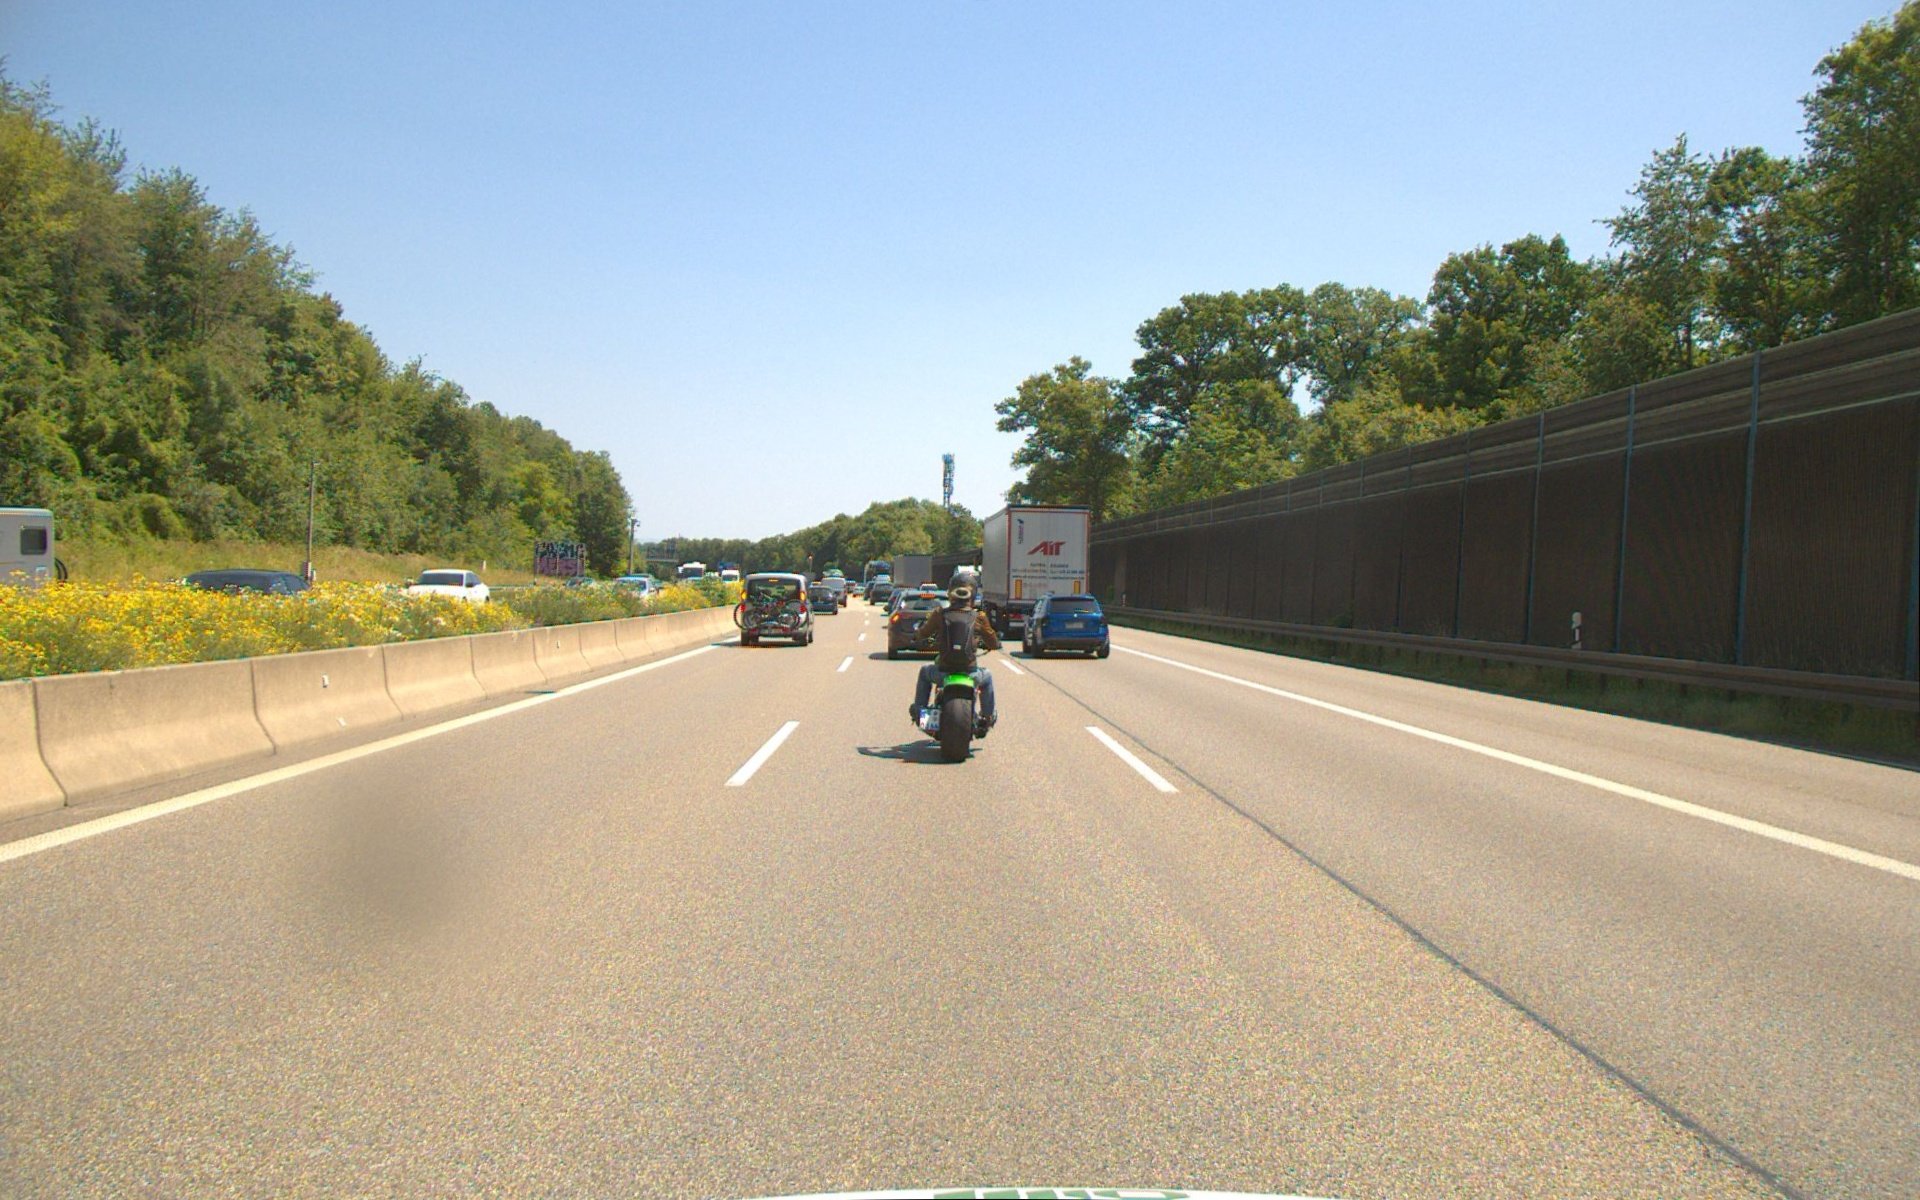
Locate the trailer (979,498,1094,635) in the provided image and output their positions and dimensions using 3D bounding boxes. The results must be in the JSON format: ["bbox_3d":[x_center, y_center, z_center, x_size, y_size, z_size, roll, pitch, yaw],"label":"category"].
[{"bbox_3d":[2.373,-1.064,56.505,2.827,4.109,13.790,0,0,-2],"label":"trailer"}]

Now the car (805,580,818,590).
[{"bbox_3d":[-22.357,-2.277,249.089,1.797,1.522,3.738,0,-1,-7],"label":"car"}]

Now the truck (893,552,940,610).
[{"bbox_3d":[-4.032,-1.646,150.637,3.729,5.046,8.940,0,-1,-5],"label":"truck"}]

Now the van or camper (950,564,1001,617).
[{"bbox_3d":[0.805,-0.471,92.229,2.631,2.862,6.800,0,-1,-1],"label":"van or camper"}]

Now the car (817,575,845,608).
[{"bbox_3d":[-8.364,-0.547,107.210,1.756,2.049,3.638,0,-1,-4],"label":"car"}]

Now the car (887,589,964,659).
[{"bbox_3d":[-0.821,0.540,37.158,1.629,1.478,3.867,0,-1,-2],"label":"car"}]

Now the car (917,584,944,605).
[{"bbox_3d":[-2.423,-0.432,134.364,1.954,1.601,3.996,0,-1,-4],"label":"car"}]

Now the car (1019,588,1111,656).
[{"bbox_3d":[2.443,0.517,39.447,1.618,1.508,4.478,0,-1,-4],"label":"car"}]

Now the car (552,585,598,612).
[{"bbox_3d":[-21.725,-0.052,93.506,1.752,1.482,3.998,0,-1,-2],"label":"car"}]

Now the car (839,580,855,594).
[{"bbox_3d":[-13.520,-1.534,197.586,1.795,1.522,3.741,0,-1,-3],"label":"car"}]

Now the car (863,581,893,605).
[{"bbox_3d":[-5.794,-0.498,117.333,1.953,1.669,3.999,0,-1,-1],"label":"car"}]

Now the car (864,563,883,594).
[{"bbox_3d":[-11.305,-2.850,215.376,2.092,3.929,8.134,1,1,-5],"label":"car"}]

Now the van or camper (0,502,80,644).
[{"bbox_3d":[-18.649,-0.510,29.590,2.141,2.605,6.931,0,-1,-1],"label":"van or camper"}]

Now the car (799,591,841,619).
[{"bbox_3d":[-7.100,0.275,84.169,1.954,1.411,3.998,0,-1,-3],"label":"car"}]

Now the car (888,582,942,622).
[{"bbox_3d":[-1.730,0.086,62.403,1.953,1.455,3.845,0,-1,-2],"label":"car"}]

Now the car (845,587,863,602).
[{"bbox_3d":[-10.884,-0.575,169.597,1.796,1.522,3.741,0,-1,-3],"label":"car"}]

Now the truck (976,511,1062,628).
[{"bbox_3d":[2.163,-1.130,63.003,2.827,4.218,5.984,0,0,-2],"label":"truck"}]

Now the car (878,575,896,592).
[{"bbox_3d":[-8.846,-1.964,199.427,2.066,1.909,3.996,0,-1,-5],"label":"car"}]

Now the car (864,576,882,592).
[{"bbox_3d":[-10.812,-1.922,205.014,2.066,1.909,3.996,0,-1,-5],"label":"car"}]

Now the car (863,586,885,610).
[{"bbox_3d":[-7.455,-0.131,143.736,1.873,2.049,3.688,0,-1,-3],"label":"car"}]

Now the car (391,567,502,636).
[{"bbox_3d":[-15.860,0.065,51.315,1.952,2.049,4.567,0,-1,0],"label":"car"}]

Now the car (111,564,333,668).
[{"bbox_3d":[-11.615,0.226,26.331,1.771,1.512,3.856,1,0,0],"label":"car"}]

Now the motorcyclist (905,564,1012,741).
[{"bbox_3d":[0.017,0.458,15.078,0.881,1.501,1.872,0,-1,2],"label":"motorcyclist"}]

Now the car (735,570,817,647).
[{"bbox_3d":[-4.755,0.229,43.231,1.861,1.906,4.409,0,-1,-3],"label":"car"}]

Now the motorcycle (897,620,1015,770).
[{"bbox_3d":[0.012,0.802,15.151,0.944,1.168,2.812,1,1,2],"label":"motorcycle"}]

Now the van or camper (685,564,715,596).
[{"bbox_3d":[-29.419,-2.250,187.431,2.489,3.375,8.996,0,-1,-3],"label":"van or camper"}]

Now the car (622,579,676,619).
[{"bbox_3d":[-11.641,-0.017,62.033,1.447,1.467,3.562,0,-1,-2],"label":"car"}]
